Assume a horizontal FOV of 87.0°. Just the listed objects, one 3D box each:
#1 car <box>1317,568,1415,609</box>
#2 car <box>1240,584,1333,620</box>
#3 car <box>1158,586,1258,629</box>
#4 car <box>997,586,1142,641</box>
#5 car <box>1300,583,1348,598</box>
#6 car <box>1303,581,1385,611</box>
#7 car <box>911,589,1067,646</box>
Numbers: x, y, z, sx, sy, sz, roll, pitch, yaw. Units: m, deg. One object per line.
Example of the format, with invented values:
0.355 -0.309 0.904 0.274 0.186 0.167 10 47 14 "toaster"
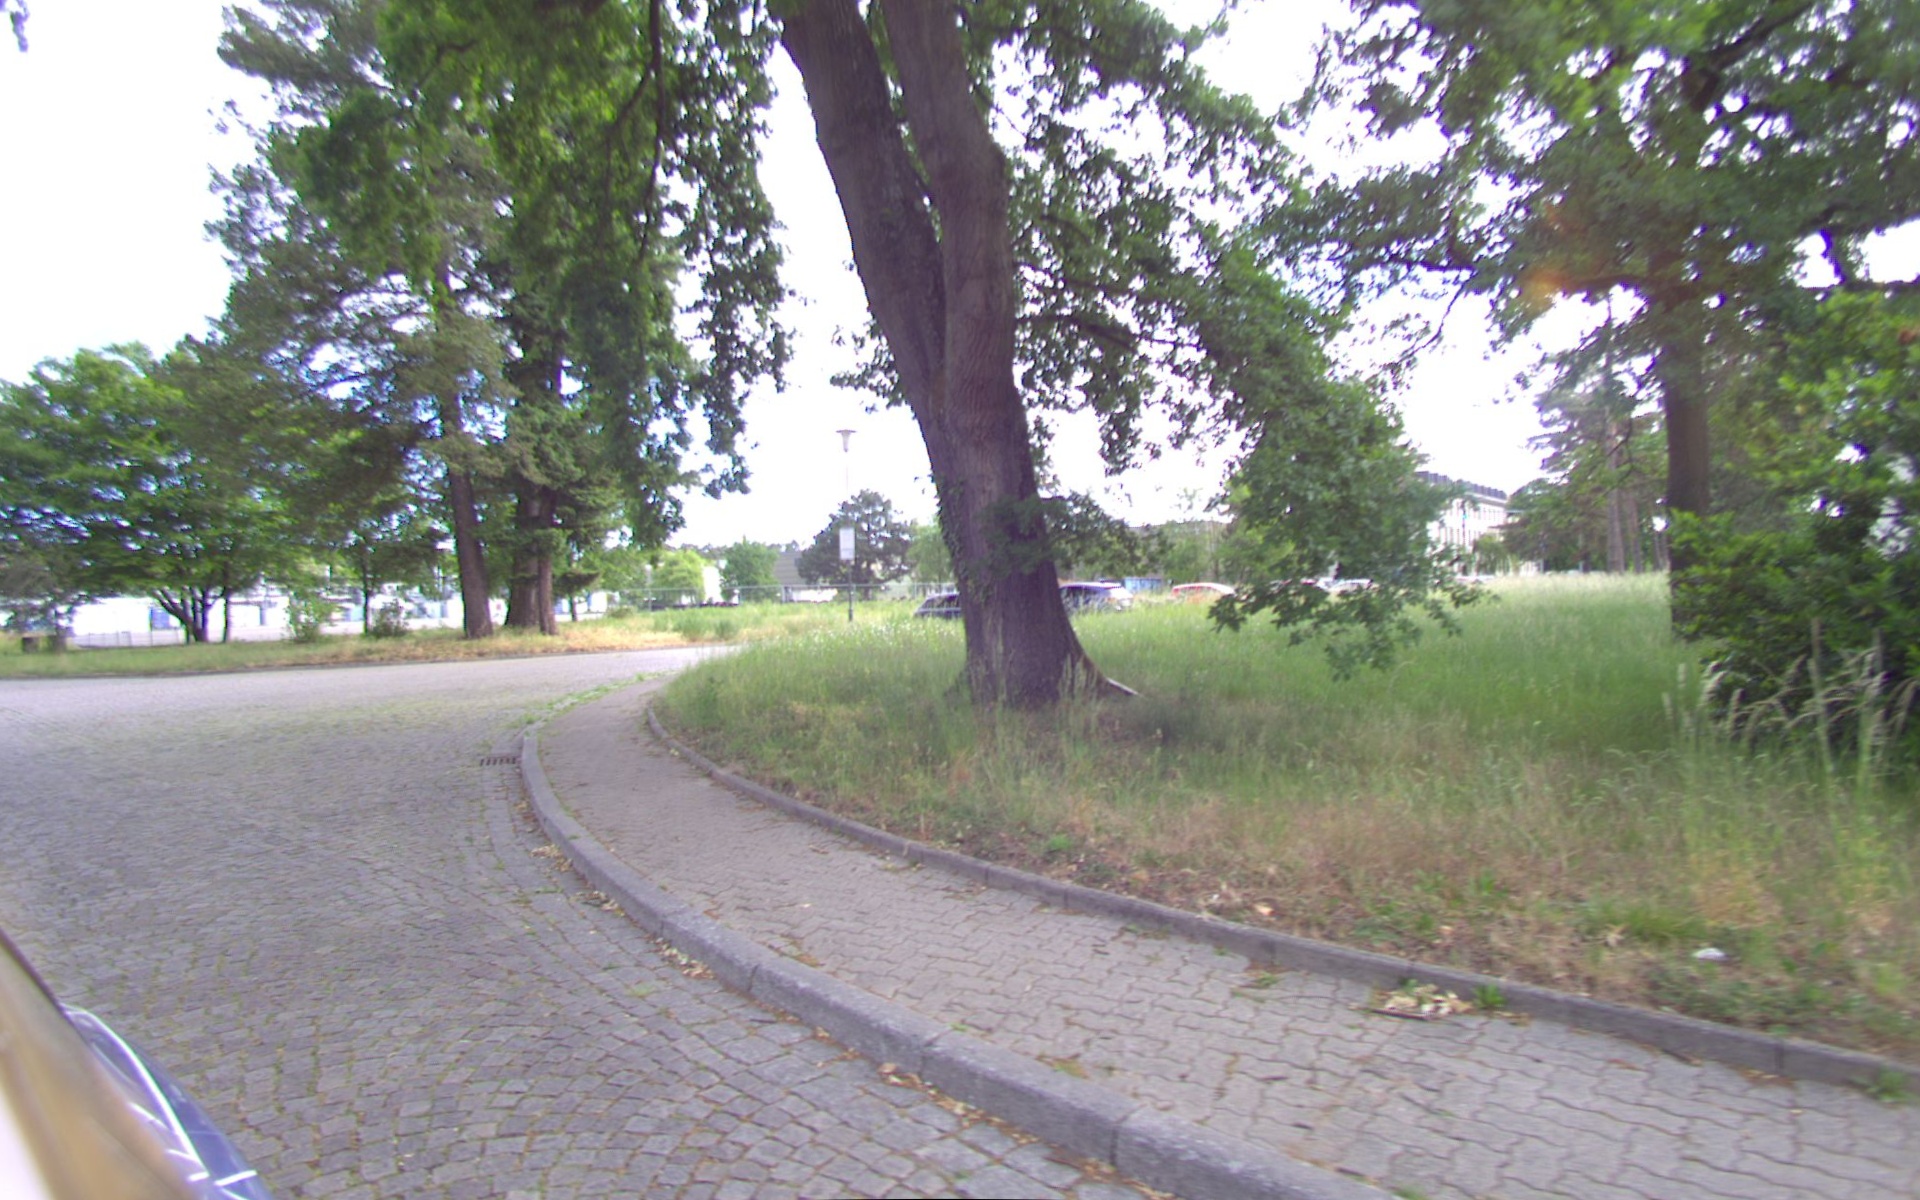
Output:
22.061 -0.589 55.040 4.540 1.916 1.770 -4 -1 39 "car"
14.868 0.113 46.191 3.659 1.432 1.557 -4 -1 39 "car"
9.884 0.305 40.506 3.496 1.493 1.581 -4 -1 39 "car"
3.474 0.466 32.660 4.361 1.574 1.741 -3 -1 39 "car"
28.445 -0.726 79.199 3.263 1.095 1.432 -2 0 37 "car"
20.229 -0.219 53.335 3.691 1.349 1.563 -4 -1 39 "car"
0.753 0.526 28.821 4.355 1.415 1.739 -3 -1 43 "car"
